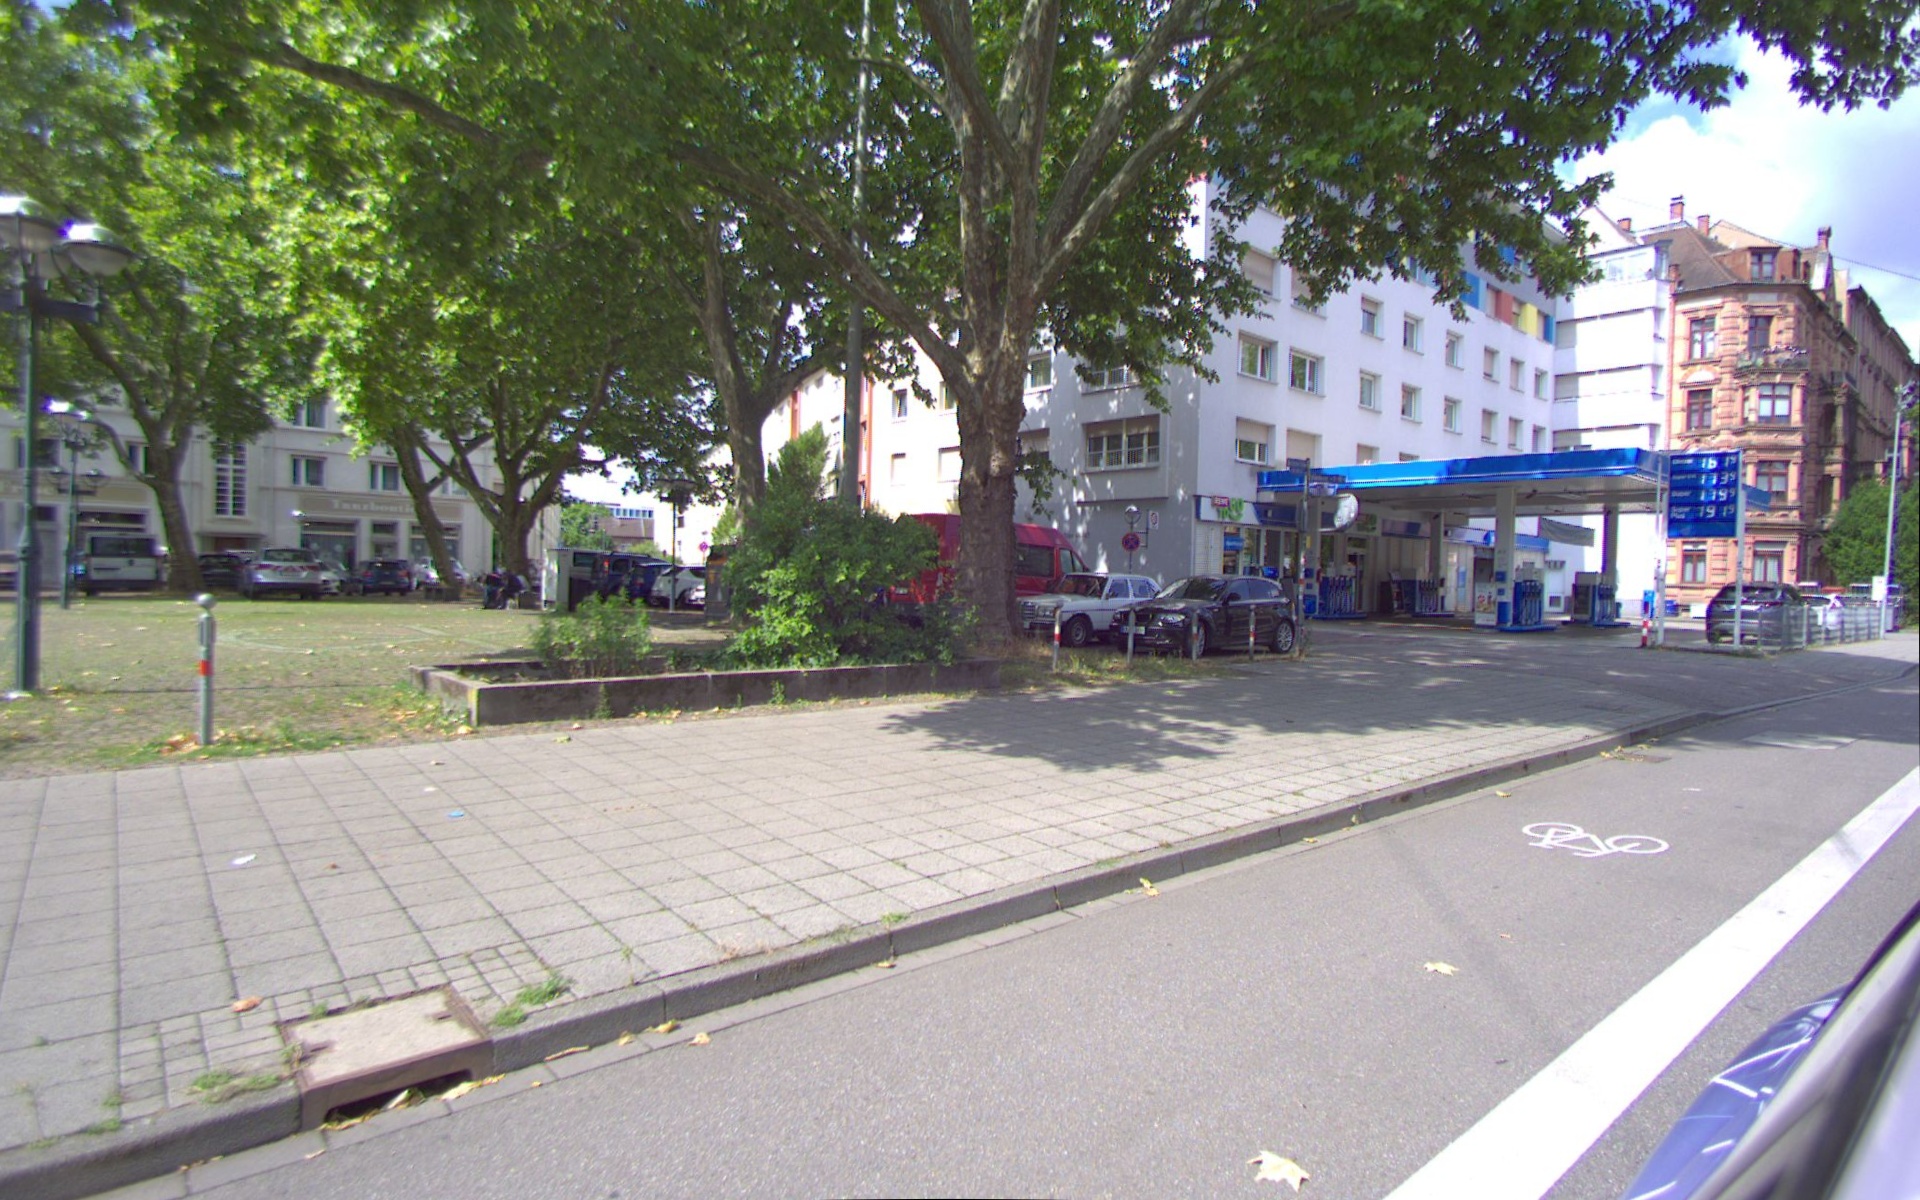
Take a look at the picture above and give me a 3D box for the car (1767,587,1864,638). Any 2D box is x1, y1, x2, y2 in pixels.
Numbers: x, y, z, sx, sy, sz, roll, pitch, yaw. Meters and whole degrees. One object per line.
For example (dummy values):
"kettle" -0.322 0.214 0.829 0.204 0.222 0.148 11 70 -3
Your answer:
"car" 27.213 0.371 32.155 3.932 1.473 1.809 0 1 -41

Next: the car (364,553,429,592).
"car" -28.026 -1.379 50.266 2.151 1.827 4.695 0 2 -38

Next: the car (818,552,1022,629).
"car" -0.876 -0.211 24.041 4.568 1.672 2.011 0 0 -39

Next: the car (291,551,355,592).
"car" -30.658 -1.386 48.614 2.151 1.827 4.757 0 2 -38

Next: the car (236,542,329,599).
"car" -20.997 -0.929 31.299 1.964 1.656 4.162 0 2 -40

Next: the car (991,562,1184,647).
"car" 2.600 0.055 19.997 3.976 1.488 1.650 0 2 -44

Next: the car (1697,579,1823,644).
"car" 21.976 0.272 27.733 4.501 1.622 1.810 0 1 -40

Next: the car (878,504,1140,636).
"car" 1.229 -0.618 22.643 5.911 2.614 2.117 0 2 -39

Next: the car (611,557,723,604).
"car" -10.023 -0.634 34.743 3.320 1.527 1.600 0 0 -43

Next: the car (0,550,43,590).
"car" -38.883 -1.261 41.247 2.001 1.569 4.692 0 2 -40

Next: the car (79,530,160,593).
"car" -29.096 -1.342 35.069 2.040 2.038 4.264 0 2 -40

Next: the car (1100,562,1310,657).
"car" 4.419 0.133 17.969 3.973 1.488 1.651 0 2 -42

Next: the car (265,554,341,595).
"car" -24.831 -0.984 38.202 1.924 1.439 4.174 0 2 -40

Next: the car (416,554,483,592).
"car" -26.140 -1.406 51.739 2.151 1.827 4.757 0 2 -38

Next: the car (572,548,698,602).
"car" -11.789 -0.877 36.860 3.979 1.843 1.824 0 0 -43

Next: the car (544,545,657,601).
"car" -13.530 -1.013 38.157 3.581 2.012 1.825 0 2 -43

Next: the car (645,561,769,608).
"car" -8.153 -0.494 32.770 3.581 1.433 1.647 0 0 -43

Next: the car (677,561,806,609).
"car" -6.662 -0.430 31.067 3.581 1.380 1.582 0 0 -43

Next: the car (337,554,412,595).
"car" -23.650 -1.046 40.819 1.964 1.543 4.162 0 2 -40

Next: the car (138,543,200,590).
"car" -35.036 -1.498 44.784 2.001 1.953 4.692 0 2 -40

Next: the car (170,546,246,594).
"car" -27.239 -1.102 36.620 1.964 1.614 4.264 0 2 -40
